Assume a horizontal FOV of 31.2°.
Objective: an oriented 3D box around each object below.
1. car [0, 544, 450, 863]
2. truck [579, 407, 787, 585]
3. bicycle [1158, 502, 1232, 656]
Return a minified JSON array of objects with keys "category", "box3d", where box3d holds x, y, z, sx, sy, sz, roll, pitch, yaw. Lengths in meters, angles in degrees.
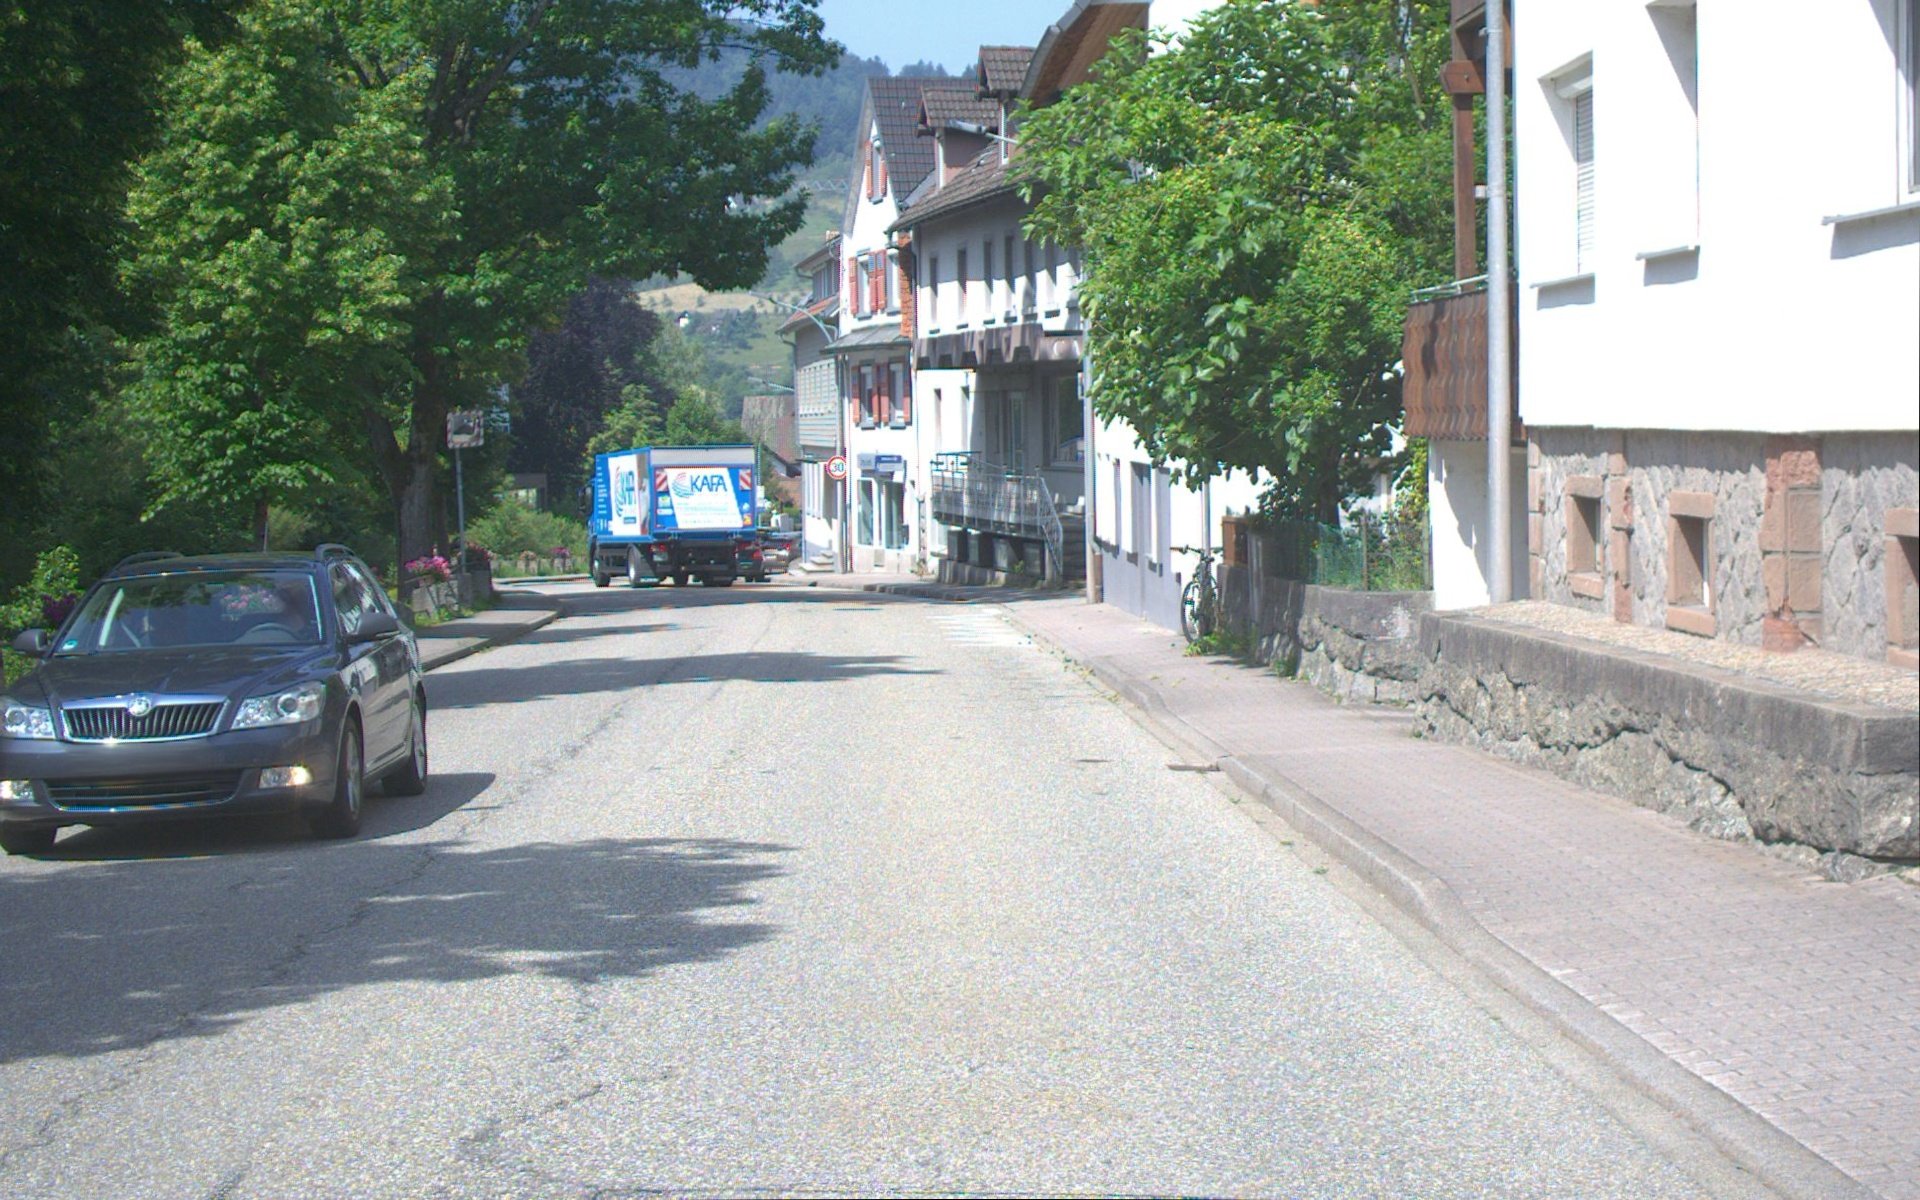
[{"category":"car","box3d":[-3.824,0.455,18.077,1.666,1.413,4.087,-3,1,-1]},{"category":"truck","box3d":[-7.001,-2.496,85.411,3.362,3.769,8.442,-4,0,-15]},{"category":"bicycle","box3d":[2.233,-0.225,32.833,0.425,1.391,2.277,-4,2,-1]}]
